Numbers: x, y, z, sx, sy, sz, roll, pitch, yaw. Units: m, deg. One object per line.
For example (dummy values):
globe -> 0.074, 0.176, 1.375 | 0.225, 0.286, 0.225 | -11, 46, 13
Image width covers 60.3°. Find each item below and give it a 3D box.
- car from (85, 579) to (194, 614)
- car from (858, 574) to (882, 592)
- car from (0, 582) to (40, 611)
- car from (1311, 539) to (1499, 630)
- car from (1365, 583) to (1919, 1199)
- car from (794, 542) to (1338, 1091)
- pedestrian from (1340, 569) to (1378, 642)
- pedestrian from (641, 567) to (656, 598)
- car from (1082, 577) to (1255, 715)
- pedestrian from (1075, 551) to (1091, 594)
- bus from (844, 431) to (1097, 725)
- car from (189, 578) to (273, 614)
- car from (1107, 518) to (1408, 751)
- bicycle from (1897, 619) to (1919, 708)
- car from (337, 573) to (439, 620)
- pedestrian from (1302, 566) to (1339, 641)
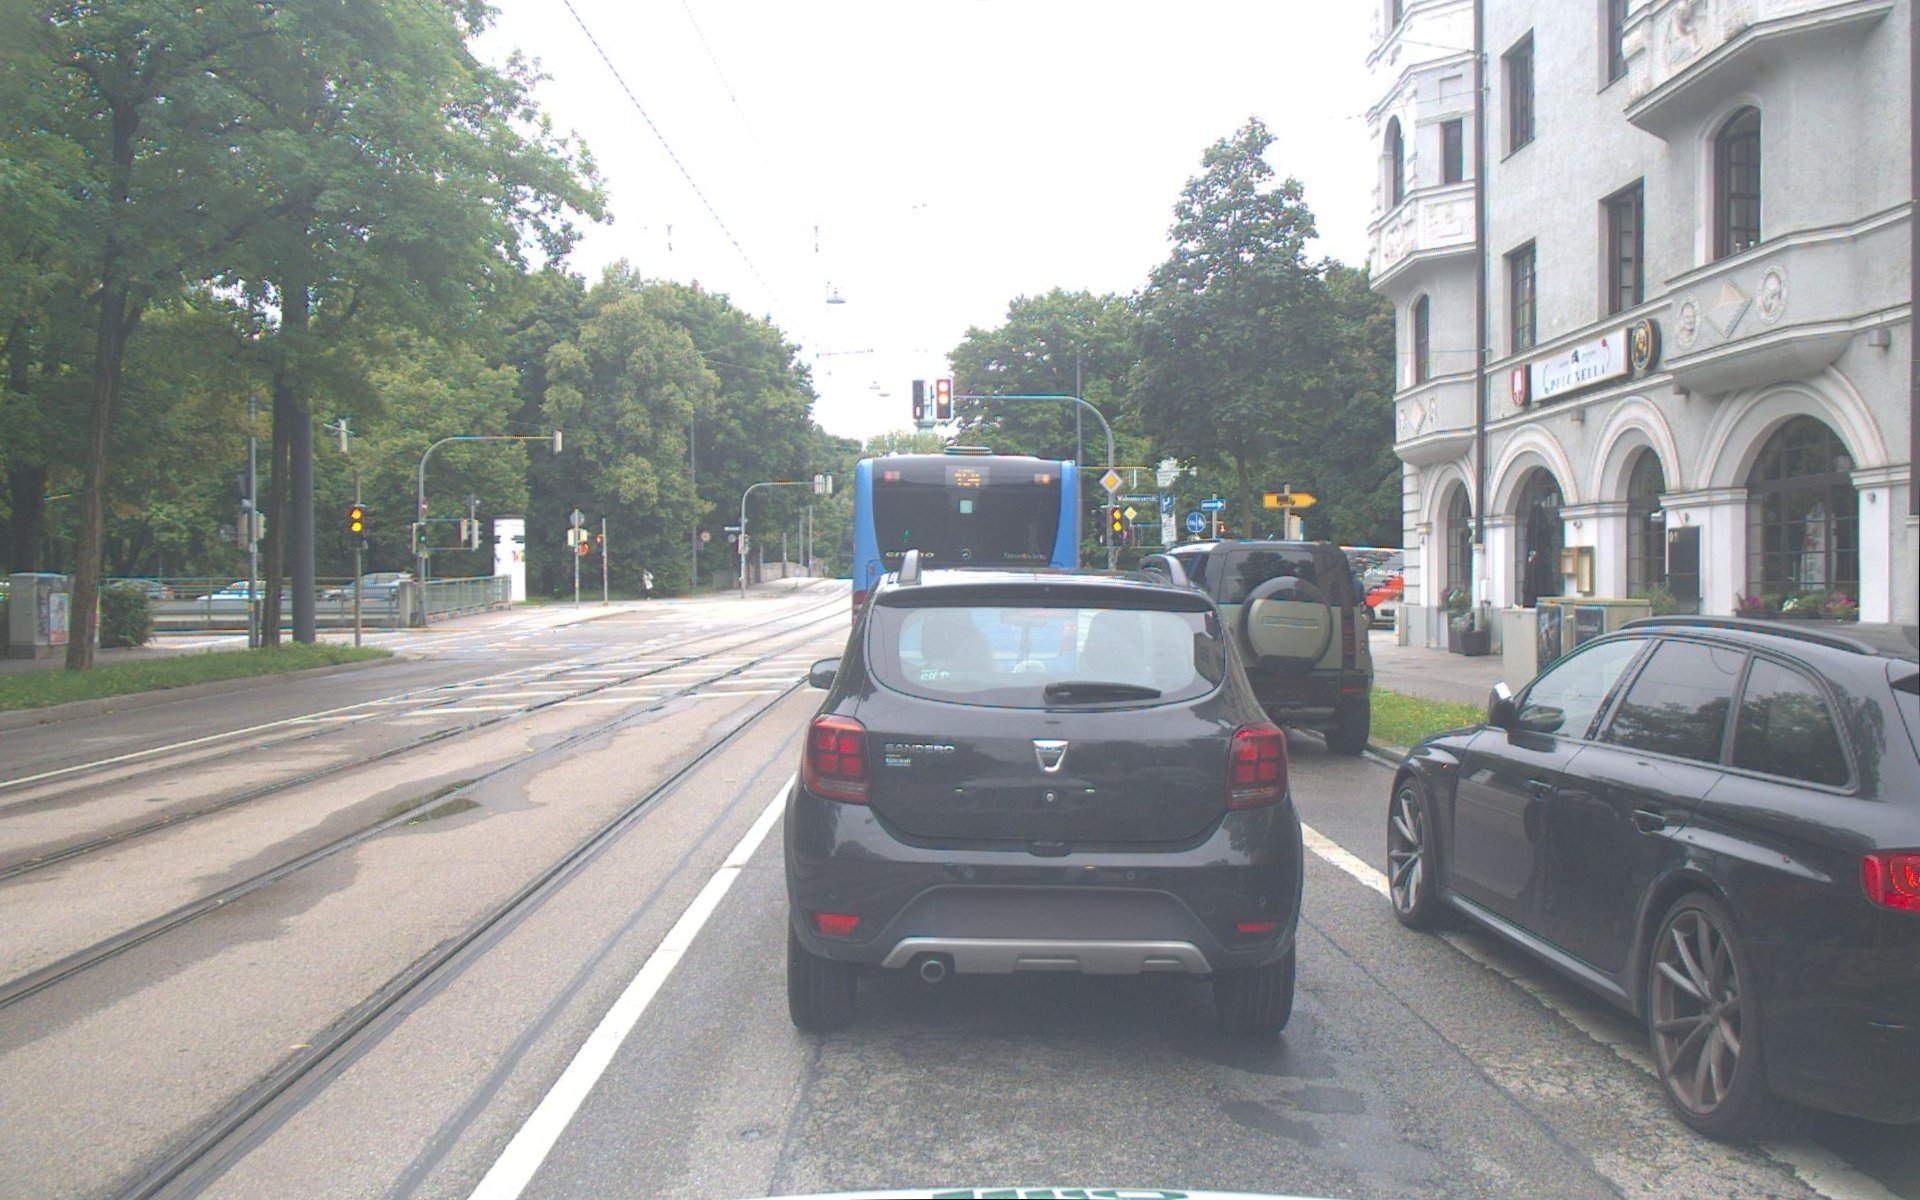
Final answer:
car -> -35.620, -0.154, 71.881 | 3.848, 1.429, 1.719 | 1, 0, -5
car -> -7.102, -1.321, 130.971 | 1.752, 1.394, 3.399 | 1, 0, -2
car -> -41.913, -0.166, 71.375 | 3.656, 1.206, 1.249 | 1, 0, -6
car -> 13.814, -0.467, 51.583 | 5.191, 2.658, 2.229 | 1, 0, -4
car -> 2.905, 0.697, 5.882 | 1.681, 1.451, 4.601 | 1, 0, -1
car -> 0.274, 0.632, 6.623 | 1.568, 1.584, 3.524 | 1, 0, -1
pedestrian -> 9.862, 0.133, 40.907 | 0.690, 1.762, 0.843 | 1, 0, -1
pedestrian -> -15.399, -0.875, 81.757 | 0.520, 1.527, 0.588 | 1, 0, 4
car -> 2.667, 0.544, 22.085 | 1.679, 1.619, 4.326 | 1, 0, -1
pedestrian -> 6.273, -1.400, 84.451 | 0.747, 2.153, 0.853 | -1, 1, -1
bus -> -0.039, -0.246, 21.049 | 2.625, 3.050, 6.957 | 1, 0, -3
car -> -31.736, -0.188, 72.034 | 3.050, 1.477, 1.249 | 1, 0, -6
car -> 2.752, 0.286, 16.493 | 1.876, 1.939, 4.805 | 1, 0, -3
bicycle -> 10.456, 0.690, 17.778 | 0.254, 0.947, 0.886 | 1, 0, 0
car -> -25.180, -0.156, 72.916 | 3.946, 1.920, 1.488 | 1, 0, -8
pedestrian -> 9.006, 0.092, 41.350 | 0.690, 1.848, 0.869 | 1, 0, -1
